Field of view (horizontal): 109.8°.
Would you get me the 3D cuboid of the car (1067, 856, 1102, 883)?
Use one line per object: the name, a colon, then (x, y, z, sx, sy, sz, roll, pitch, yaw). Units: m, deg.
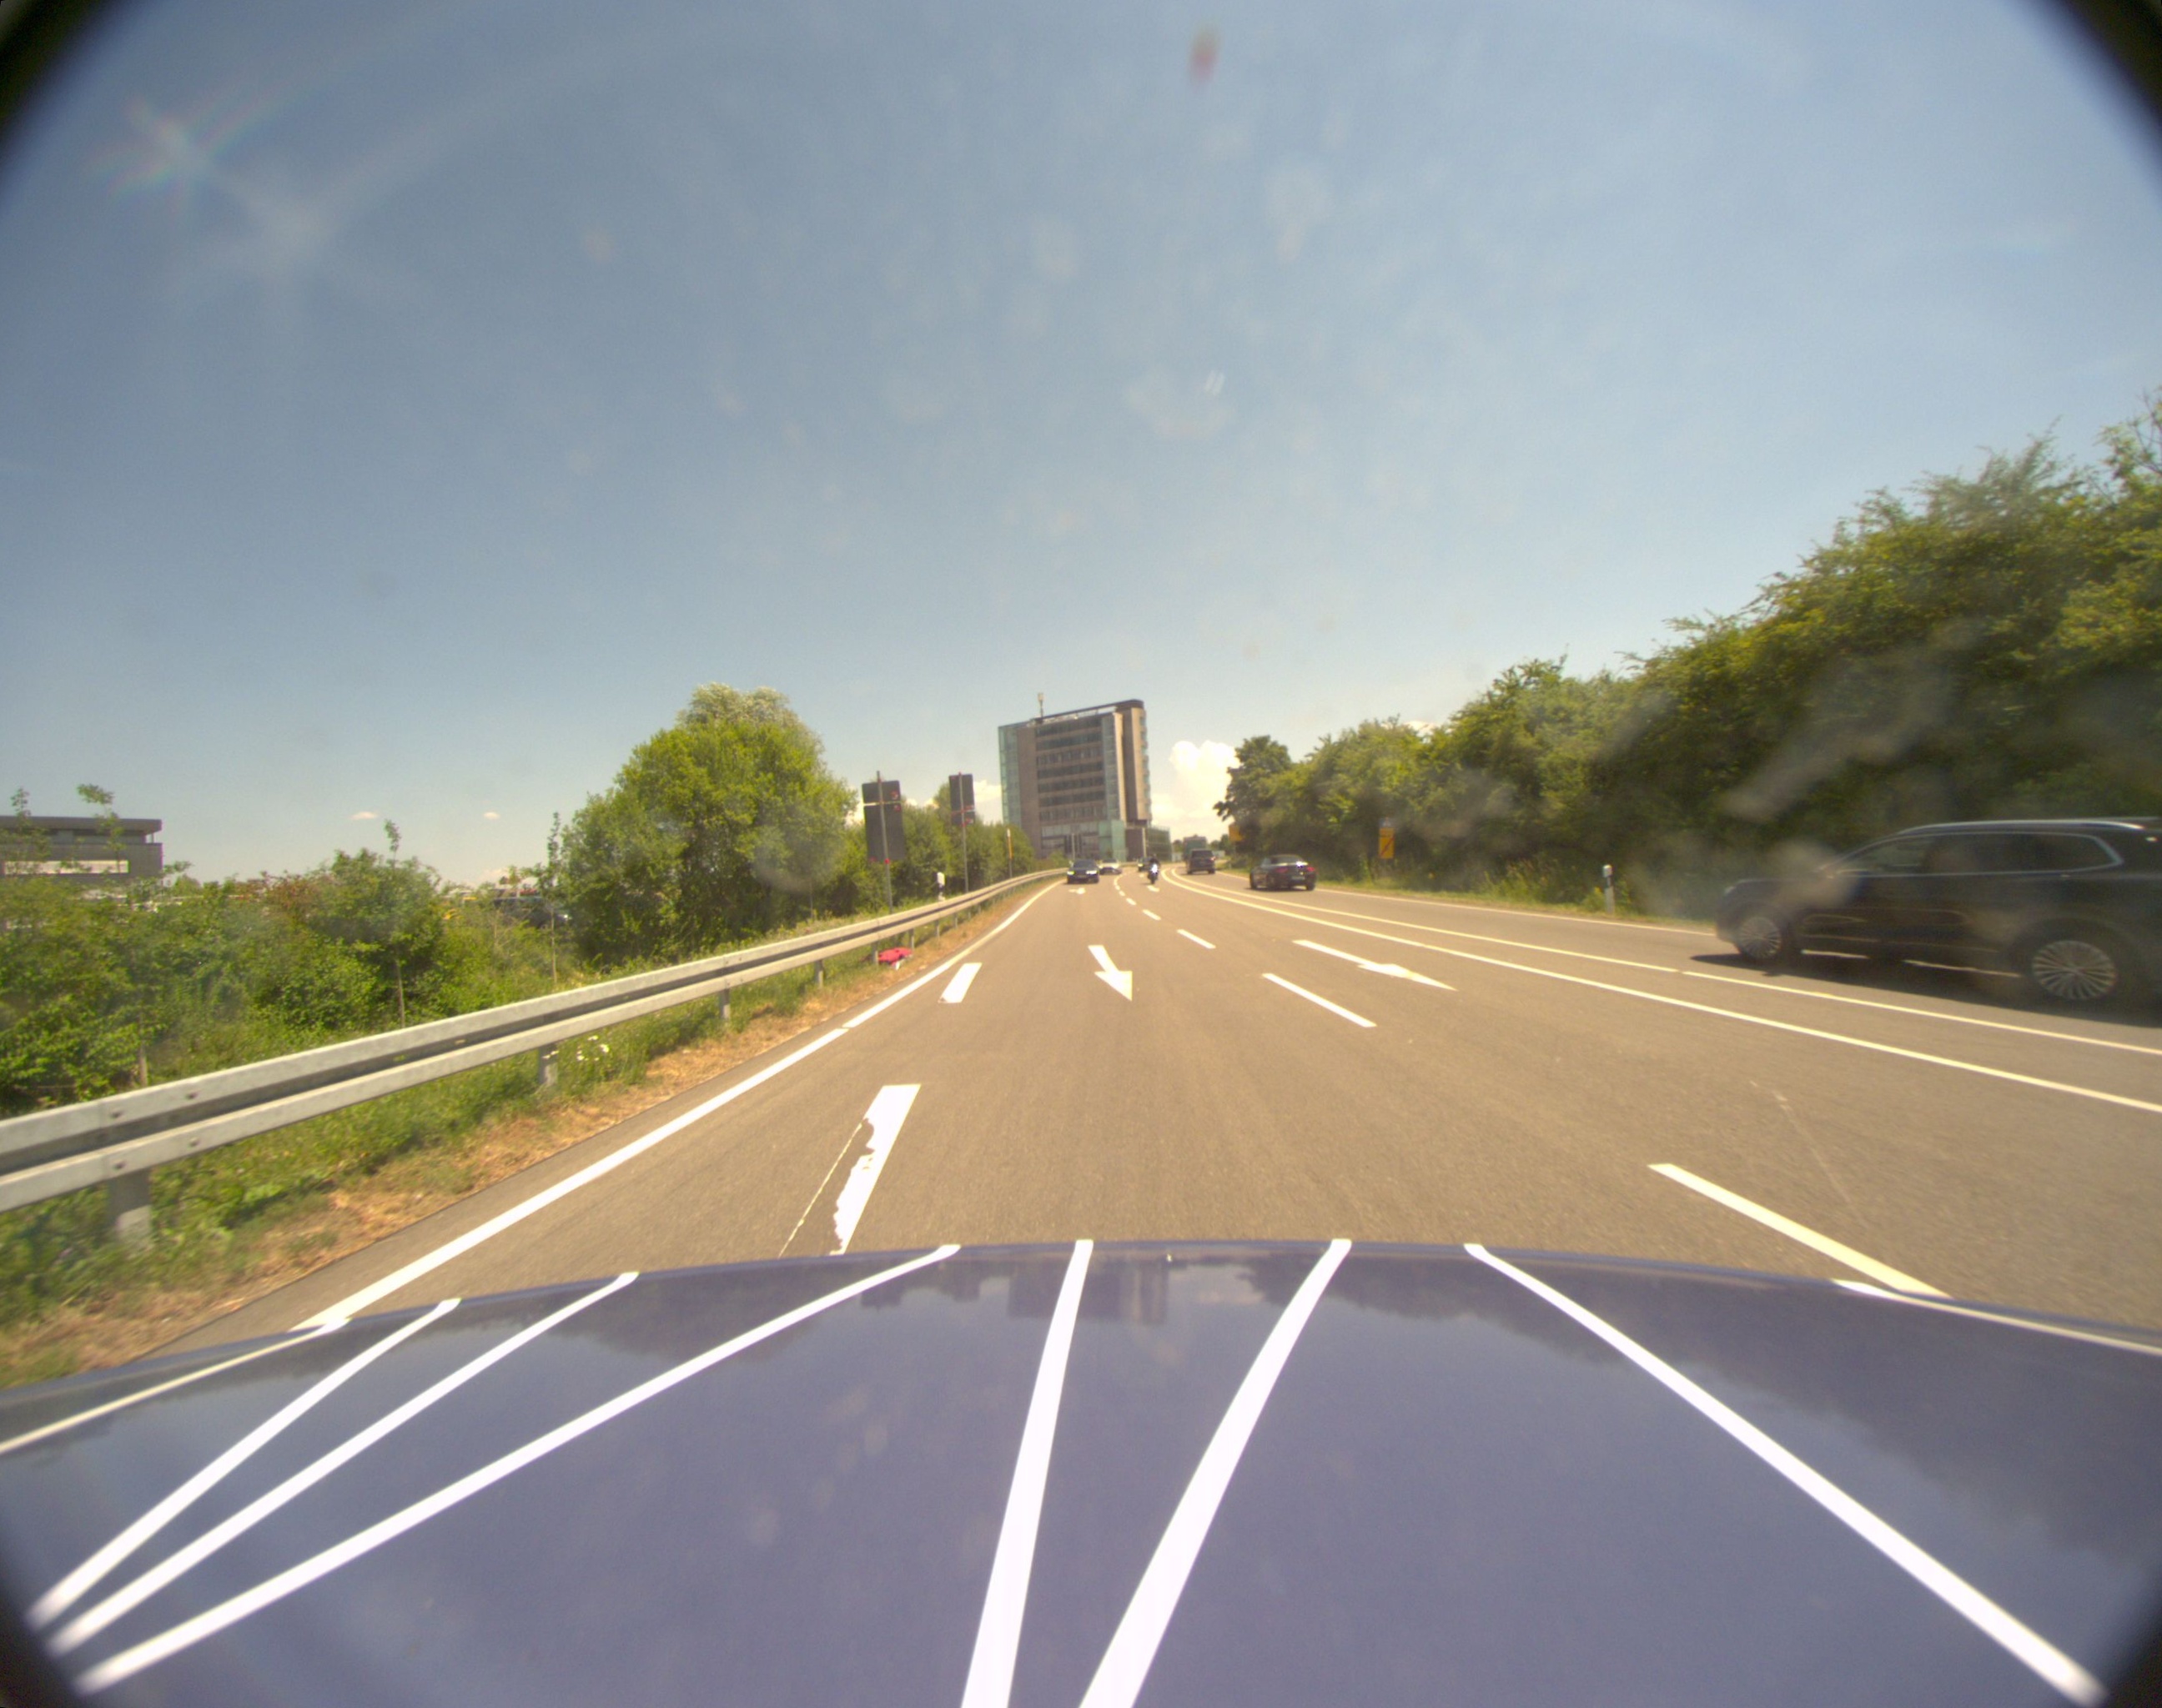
car: (0.259, 0.927, 45.946, 1.779, 1.497, 4.562, -2, -1, 3)

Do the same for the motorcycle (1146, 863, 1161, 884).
motorcycle: (3.914, 1.039, 41.032, 0.733, 1.131, 2.074, -1, 0, 7)

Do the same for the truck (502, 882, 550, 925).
truck: (-52.334, 4.750, 71.578, 3.137, 3.661, 9.399, -2, -3, -39)

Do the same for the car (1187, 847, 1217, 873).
car: (9.307, 0.431, 58.702, 1.997, 1.883, 5.106, -2, 0, 6)

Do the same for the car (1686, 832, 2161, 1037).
car: (9.172, 0.609, 7.717, 2.000, 1.583, 4.679, -2, 0, -7)

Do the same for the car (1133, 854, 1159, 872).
car: (6.415, 0.865, 74.667, 2.116, 1.581, 4.453, -3, 0, 9)

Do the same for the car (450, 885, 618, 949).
car: (-20.008, 2.267, 27.925, 4.690, 1.956, 2.001, -4, -2, 1)

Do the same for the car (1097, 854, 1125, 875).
car: (2.664, 0.970, 66.503, 1.933, 1.576, 4.183, -5, -3, 7)

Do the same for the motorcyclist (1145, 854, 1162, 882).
motorcyclist: (3.900, 0.762, 41.032, 0.860, 1.479, 1.162, -1, 0, 7)

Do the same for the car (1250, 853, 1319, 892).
car: (8.169, 0.696, 30.913, 1.821, 1.433, 4.645, -1, 0, 4)

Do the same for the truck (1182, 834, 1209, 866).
truck: (14.128, -0.472, 93.106, 2.874, 3.553, 9.438, -2, 0, 11)
